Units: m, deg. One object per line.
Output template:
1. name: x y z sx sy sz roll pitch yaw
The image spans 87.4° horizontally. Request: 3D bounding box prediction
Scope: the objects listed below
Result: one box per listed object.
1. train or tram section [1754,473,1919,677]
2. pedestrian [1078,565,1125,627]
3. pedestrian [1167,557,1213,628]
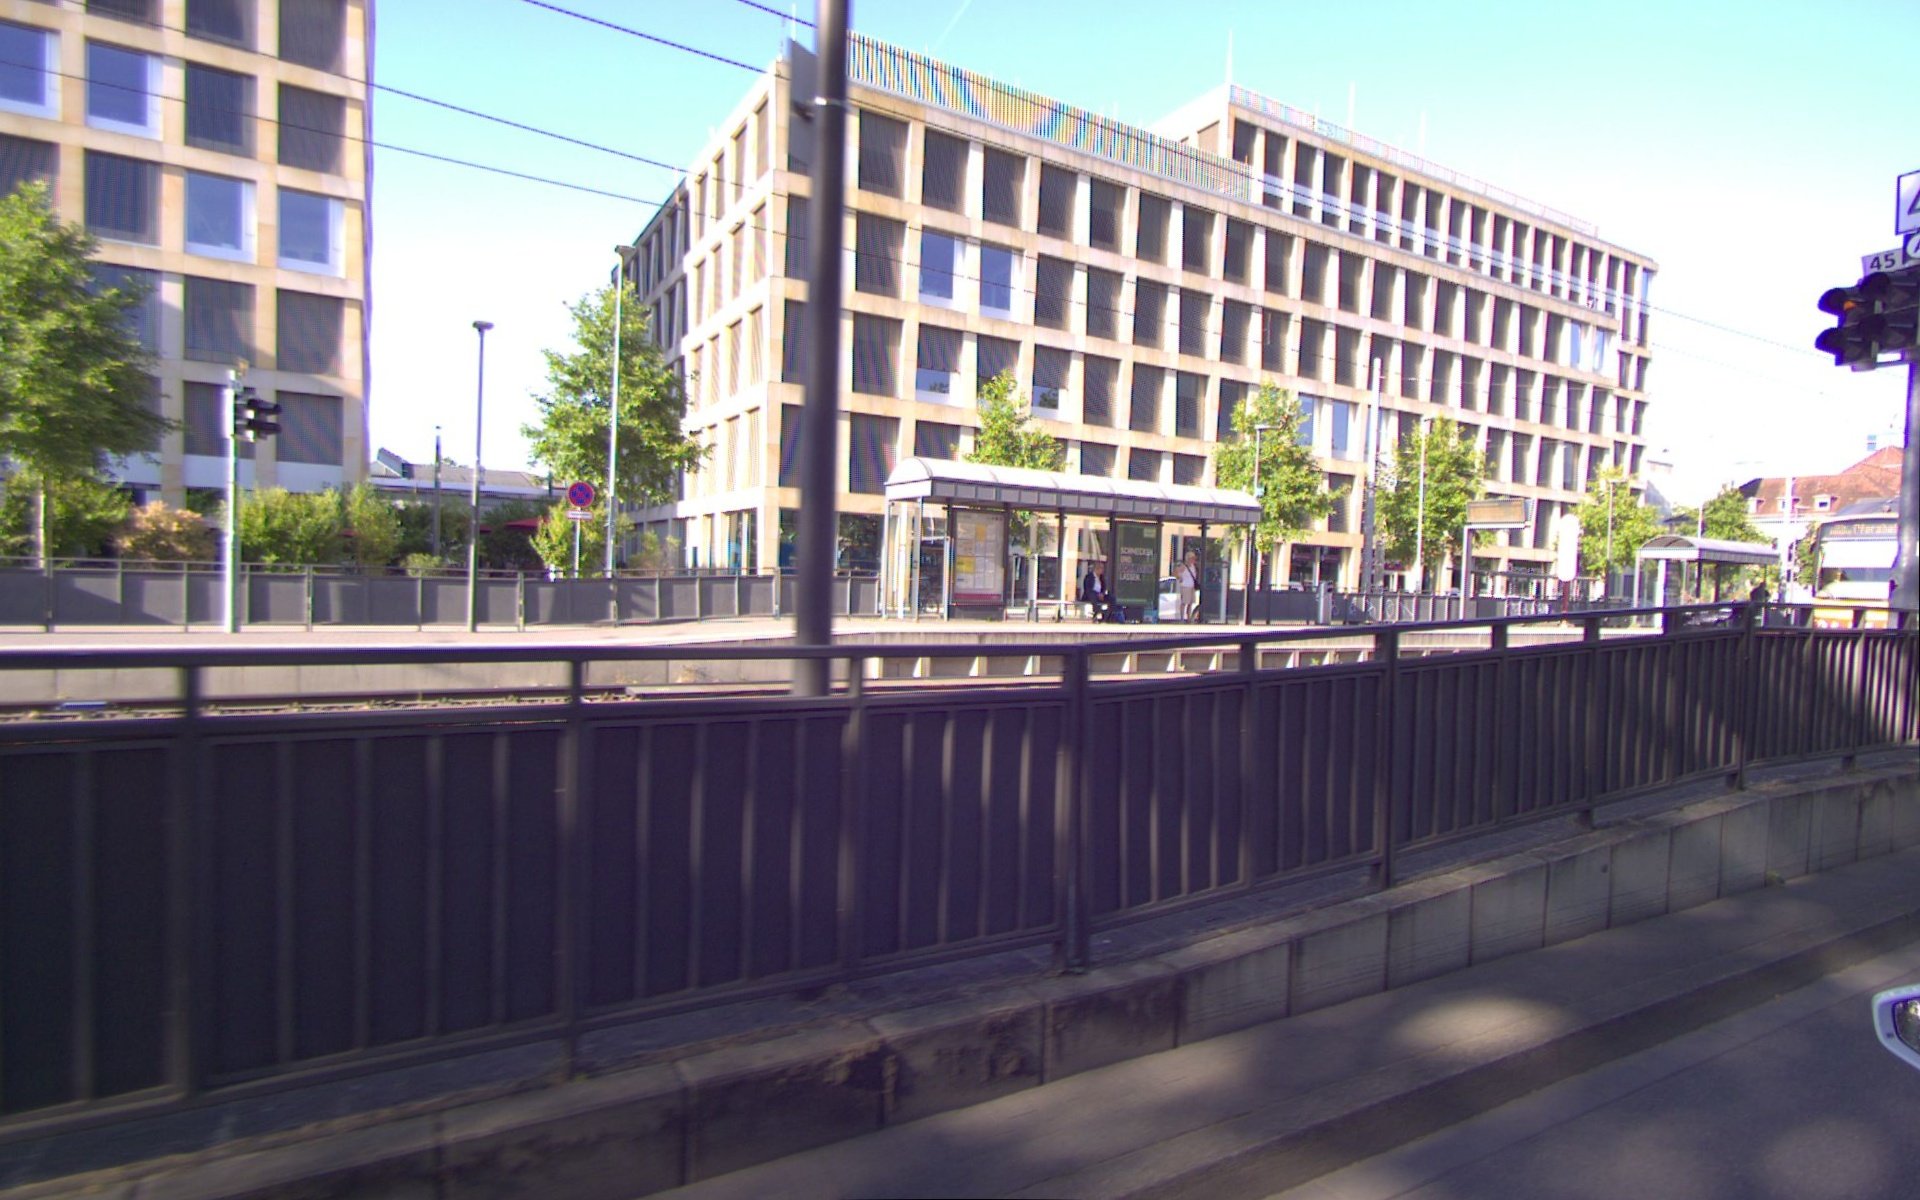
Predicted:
1. train or tram section: 23.830 -0.375 23.485 14.053 3.881 3.292 1 2 -31
2. pedestrian: 2.977 -0.090 21.093 0.715 1.277 0.612 1 2 -26
3. pedestrian: 5.136 -0.178 22.433 0.714 1.548 0.613 1 2 -22
